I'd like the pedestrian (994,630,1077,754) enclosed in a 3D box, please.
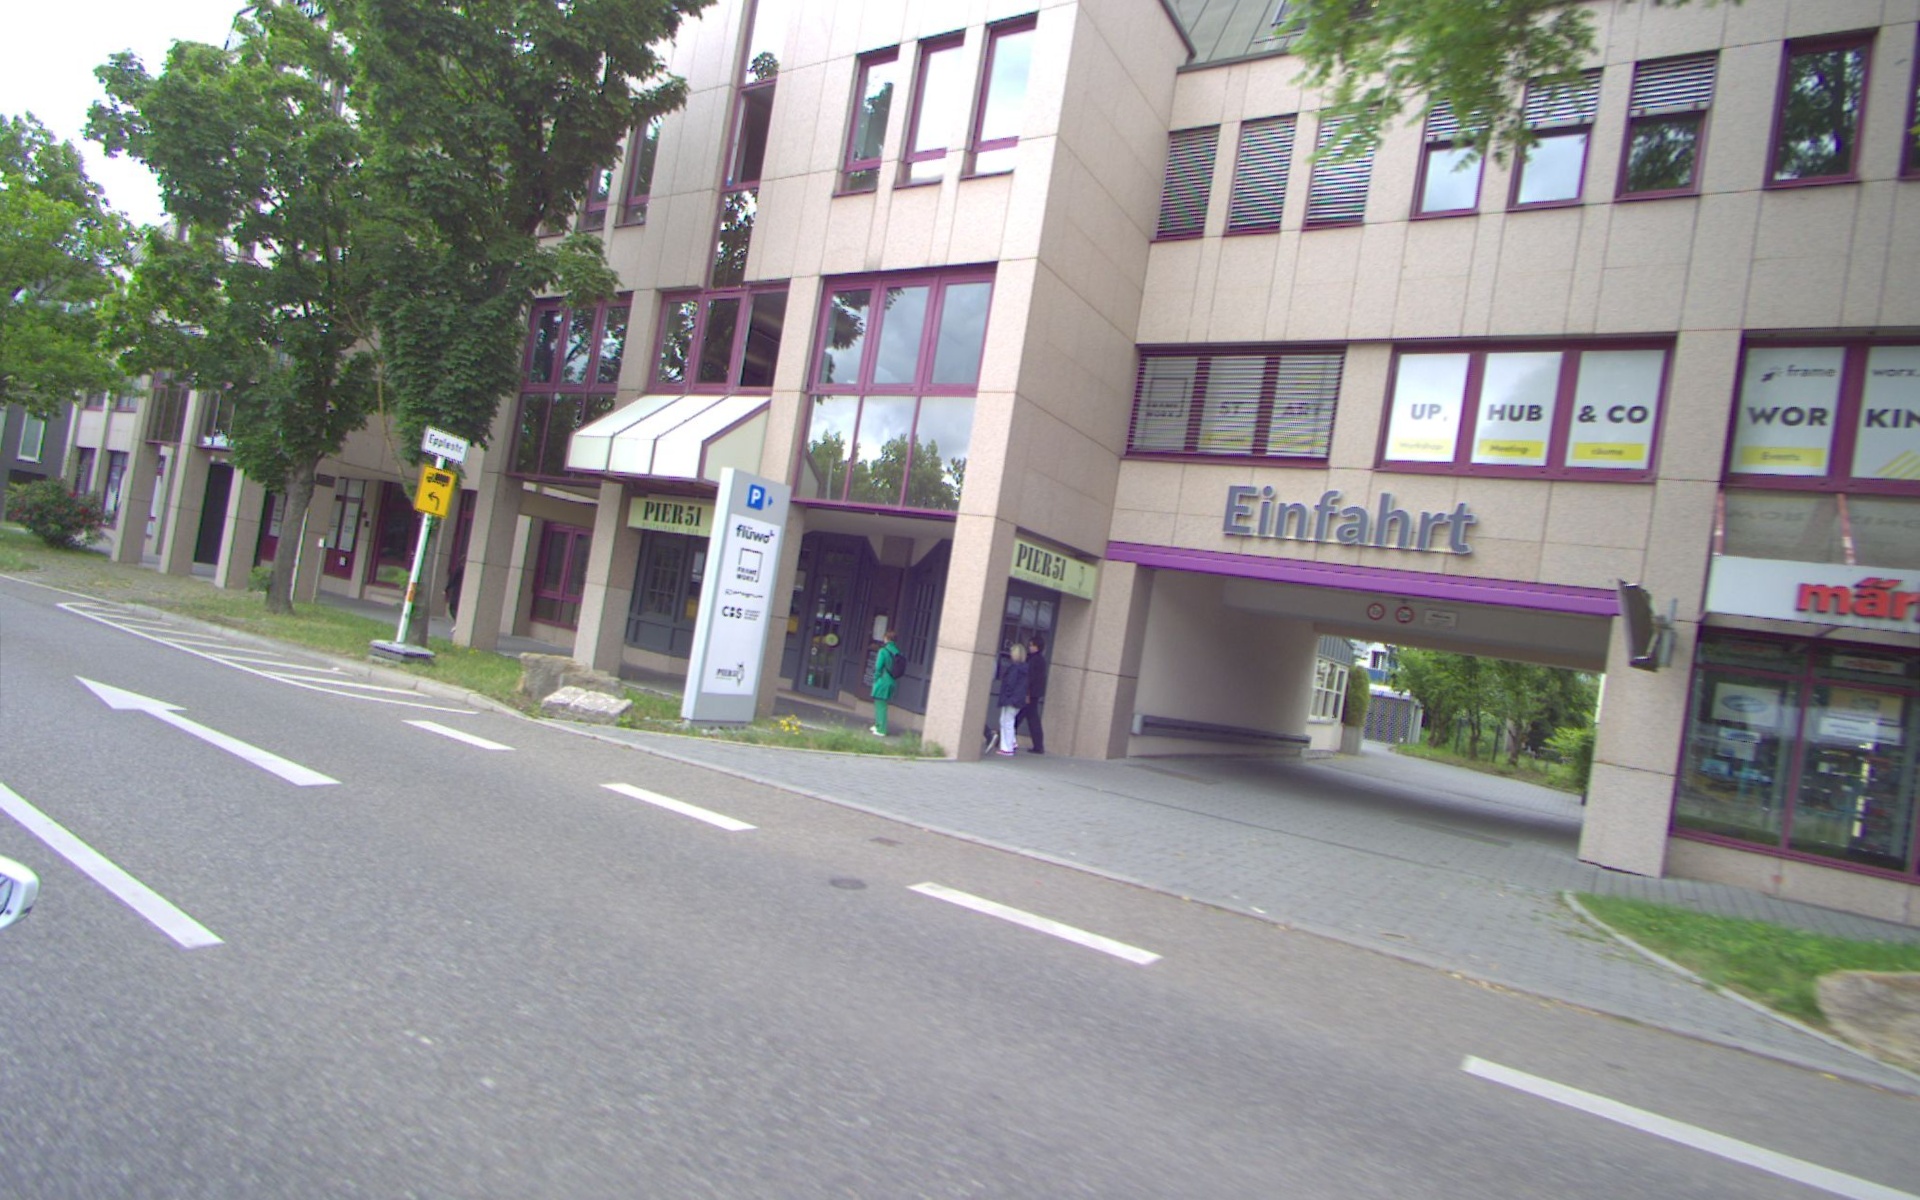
[{"bbox_3d":[1.119,1.356,14.935,0.829,1.711,0.658,7,0,34],"label":"pedestrian"}]

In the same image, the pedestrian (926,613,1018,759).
[{"bbox_3d":[0.163,1.154,13.676,0.829,1.848,0.658,7,0,34],"label":"pedestrian"}]

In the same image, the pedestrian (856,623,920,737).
[{"bbox_3d":[-1.045,1.165,14.696,0.535,1.568,0.561,7,0,34],"label":"pedestrian"}]

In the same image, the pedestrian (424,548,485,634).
[{"bbox_3d":[-10.905,-0.191,21.694,0.954,1.724,0.595,7,-1,35],"label":"pedestrian"}]

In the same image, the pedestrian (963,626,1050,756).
[{"bbox_3d":[0.667,1.279,14.312,0.829,1.711,0.658,7,0,34],"label":"pedestrian"}]
